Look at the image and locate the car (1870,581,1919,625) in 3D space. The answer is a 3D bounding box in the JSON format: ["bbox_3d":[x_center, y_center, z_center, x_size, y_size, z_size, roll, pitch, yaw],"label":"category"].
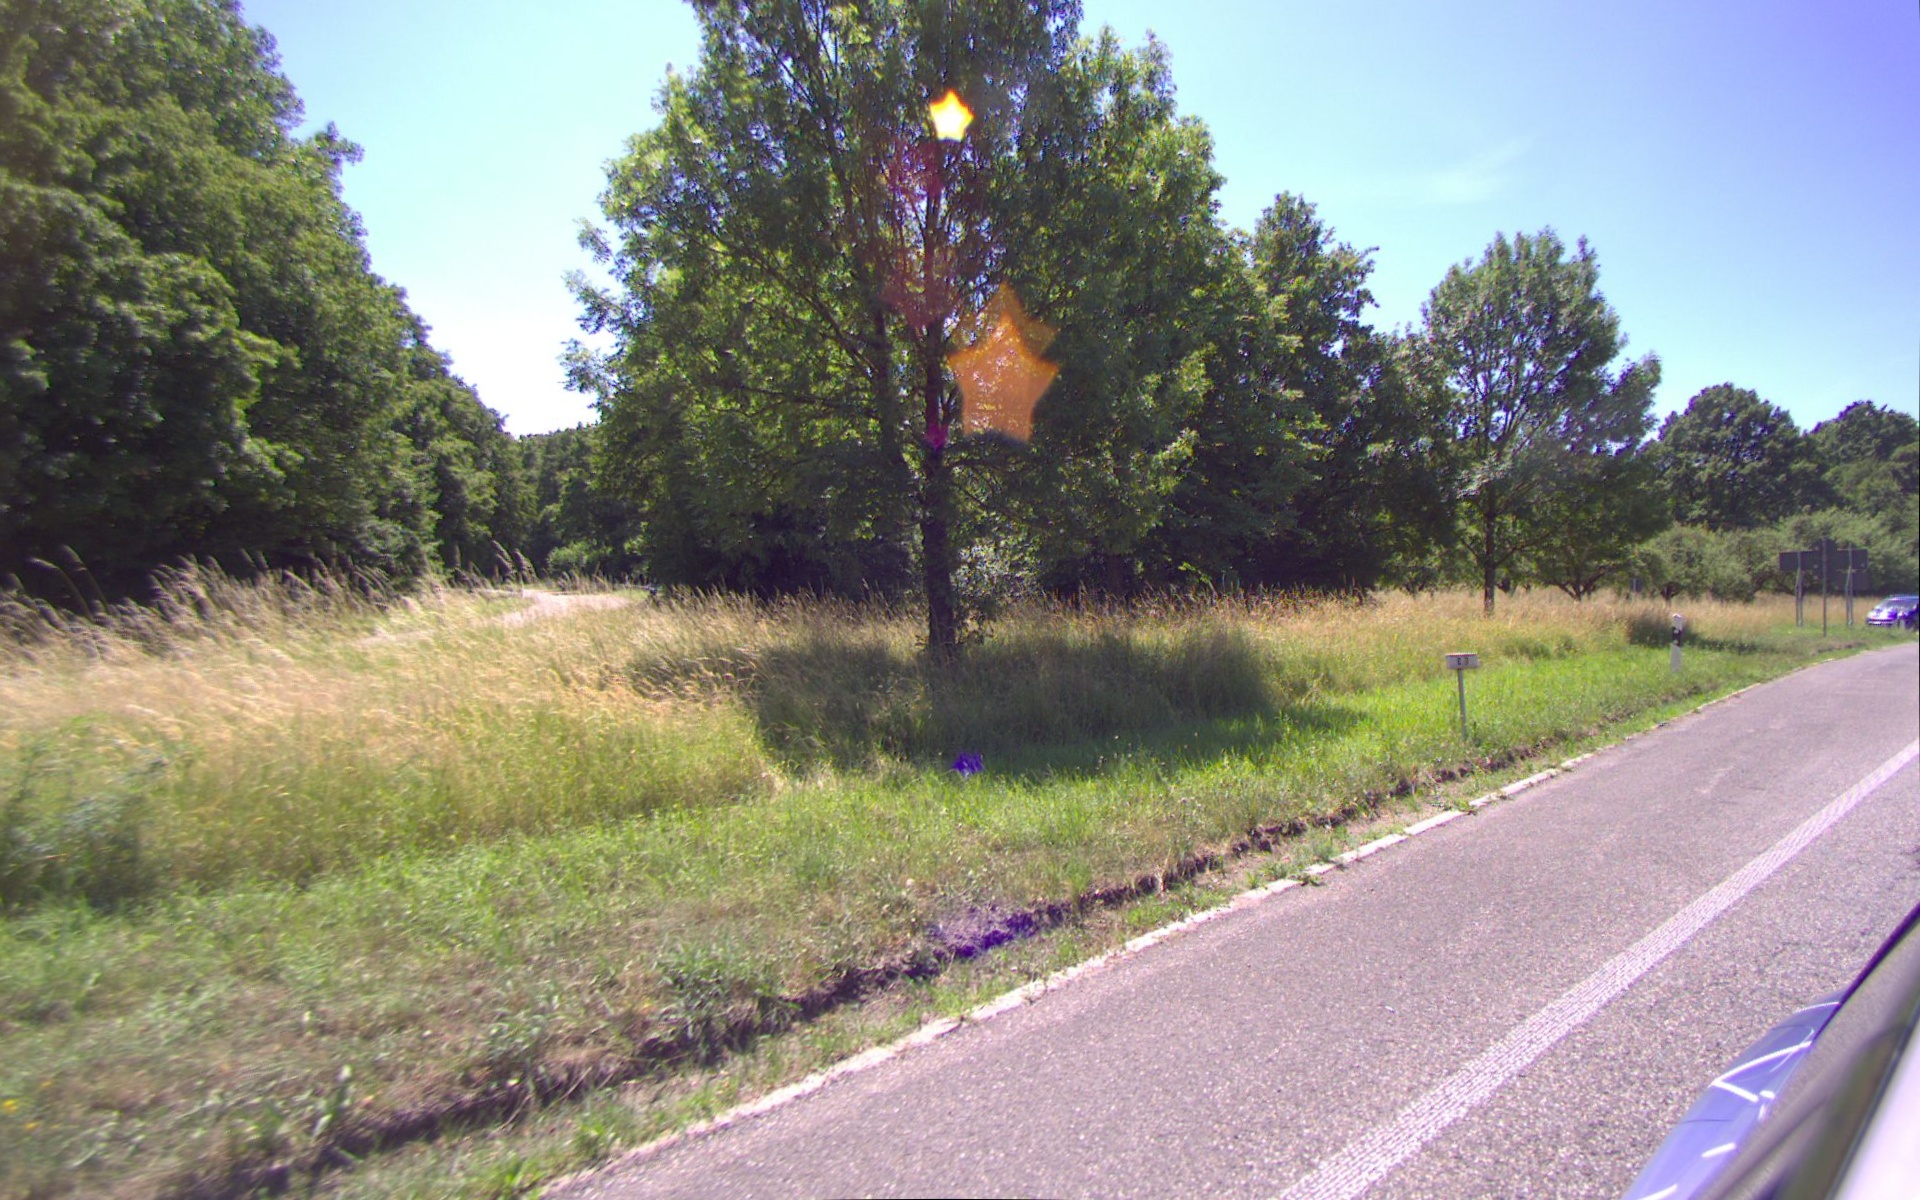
[{"bbox_3d":[43.732,0.130,46.232,3.917,1.866,1.751,0,3,-25],"label":"car"}]
